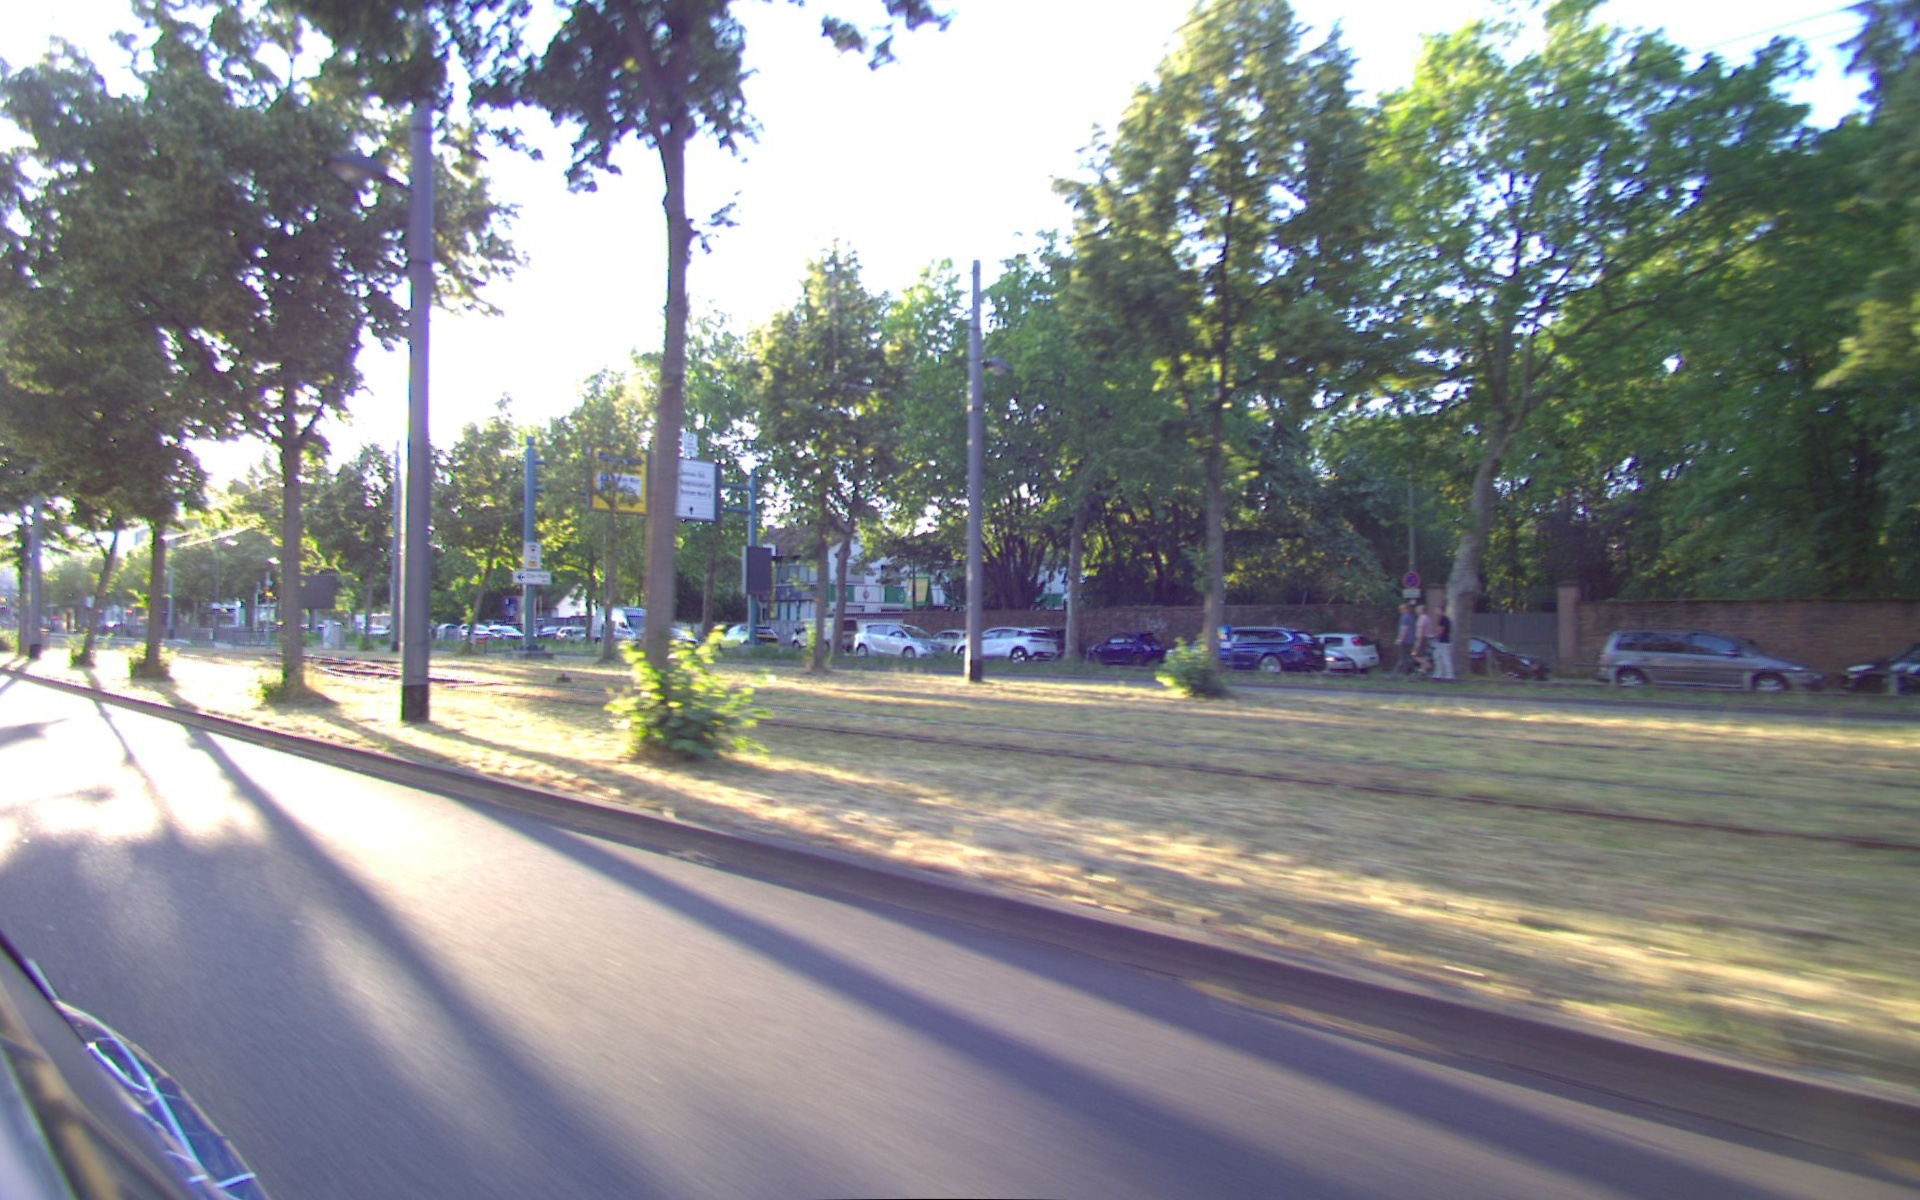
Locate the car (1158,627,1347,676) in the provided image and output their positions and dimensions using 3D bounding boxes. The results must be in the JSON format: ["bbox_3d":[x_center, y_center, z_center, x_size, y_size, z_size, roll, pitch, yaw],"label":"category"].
[{"bbox_3d":[8.695,1.490,30.383,5.141,1.325,1.972,-1,-2,42],"label":"car"}]

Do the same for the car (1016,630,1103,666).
[{"bbox_3d":[4.622,2.221,47.378,3.840,1.608,1.745,-2,-2,45],"label":"car"}]

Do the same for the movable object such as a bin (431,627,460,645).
[{"bbox_3d":[-40.309,2.776,79.256,1.724,1.383,1.536,-2,-2,42],"label":"movable object such as a bin"}]

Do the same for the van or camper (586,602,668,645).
[{"bbox_3d":[-19.646,1.395,59.510,2.258,2.383,5.786,1,-2,-44],"label":"van or camper"}]

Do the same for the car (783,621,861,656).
[{"bbox_3d":[-8.327,2.268,60.702,5.060,2.029,1.971,-2,-2,44],"label":"car"}]

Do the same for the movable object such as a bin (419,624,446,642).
[{"bbox_3d":[-42.383,2.619,81.332,1.701,1.422,1.393,-2,-2,42],"label":"movable object such as a bin"}]

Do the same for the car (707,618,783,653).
[{"bbox_3d":[-10.634,1.753,49.906,1.969,1.652,4.005,1,-2,-42],"label":"car"}]

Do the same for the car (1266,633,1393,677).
[{"bbox_3d":[13.748,2.003,37.758,1.969,1.497,4.005,1,-2,-42],"label":"car"}]

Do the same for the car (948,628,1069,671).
[{"bbox_3d":[1.765,1.798,37.700,4.305,1.511,1.879,-1,-2,42],"label":"car"}]

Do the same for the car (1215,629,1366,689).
[{"bbox_3d":[10.508,1.814,32.353,1.970,1.763,4.163,2,-2,-44],"label":"car"}]

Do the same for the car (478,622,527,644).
[{"bbox_3d":[-32.749,2.348,72.411,4.053,1.543,1.790,-2,-2,42],"label":"car"}]

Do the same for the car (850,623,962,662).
[{"bbox_3d":[-2.245,1.690,41.396,4.555,1.510,1.972,-1,-2,42],"label":"car"}]

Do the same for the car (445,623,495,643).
[{"bbox_3d":[-37.151,2.480,76.696,4.298,1.512,1.972,-2,-2,42],"label":"car"}]

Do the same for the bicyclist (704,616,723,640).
[{"bbox_3d":[-15.984,1.788,65.673,0.719,1.545,1.086,2,-2,-43],"label":"bicyclist"}]

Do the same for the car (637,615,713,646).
[{"bbox_3d":[-15.653,1.668,55.532,4.205,1.649,1.974,-1,-2,40],"label":"car"}]

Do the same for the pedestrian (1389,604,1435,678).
[{"bbox_3d":[10.962,0.976,24.563,0.865,1.756,0.686,-1,-2,39],"label":"pedestrian"}]

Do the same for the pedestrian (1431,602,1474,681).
[{"bbox_3d":[11.947,0.992,24.548,0.864,1.884,0.687,-1,-2,33],"label":"pedestrian"}]

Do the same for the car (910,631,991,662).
[{"bbox_3d":[-0.522,2.381,52.484,4.051,1.503,1.839,-2,-2,44],"label":"car"}]

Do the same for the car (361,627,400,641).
[{"bbox_3d":[-53.608,3.123,93.557,4.088,1.210,1.972,-2,-2,42],"label":"car"}]

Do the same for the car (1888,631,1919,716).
[{"bbox_3d":[22.100,1.524,20.471,4.787,1.763,1.973,-1,-2,40],"label":"car"}]

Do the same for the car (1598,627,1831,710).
[{"bbox_3d":[17.840,1.537,24.057,1.970,1.763,4.163,2,-2,-44],"label":"car"}]

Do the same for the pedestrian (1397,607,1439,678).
[{"bbox_3d":[11.609,1.068,25.643,0.864,1.772,0.687,-1,-2,33],"label":"pedestrian"}]

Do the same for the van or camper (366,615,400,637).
[{"bbox_3d":[-69.869,3.128,122.538,2.363,2.583,5.638,2,-2,-43],"label":"van or camper"}]

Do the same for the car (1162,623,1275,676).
[{"bbox_3d":[10.382,1.962,40.786,1.969,2.029,4.004,2,-2,-42],"label":"car"}]

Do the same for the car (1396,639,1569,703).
[{"bbox_3d":[14.237,1.877,27.699,1.782,1.572,3.840,2,-2,-44],"label":"car"}]

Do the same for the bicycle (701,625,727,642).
[{"bbox_3d":[-15.967,2.156,65.611,0.722,1.099,2.018,2,-2,-44],"label":"bicycle"}]

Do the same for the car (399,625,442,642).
[{"bbox_3d":[-45.456,2.802,85.306,3.999,1.459,1.972,-2,-2,42],"label":"car"}]

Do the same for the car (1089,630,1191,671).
[{"bbox_3d":[7.829,2.167,44.278,4.002,1.653,1.971,-2,-2,45],"label":"car"}]
